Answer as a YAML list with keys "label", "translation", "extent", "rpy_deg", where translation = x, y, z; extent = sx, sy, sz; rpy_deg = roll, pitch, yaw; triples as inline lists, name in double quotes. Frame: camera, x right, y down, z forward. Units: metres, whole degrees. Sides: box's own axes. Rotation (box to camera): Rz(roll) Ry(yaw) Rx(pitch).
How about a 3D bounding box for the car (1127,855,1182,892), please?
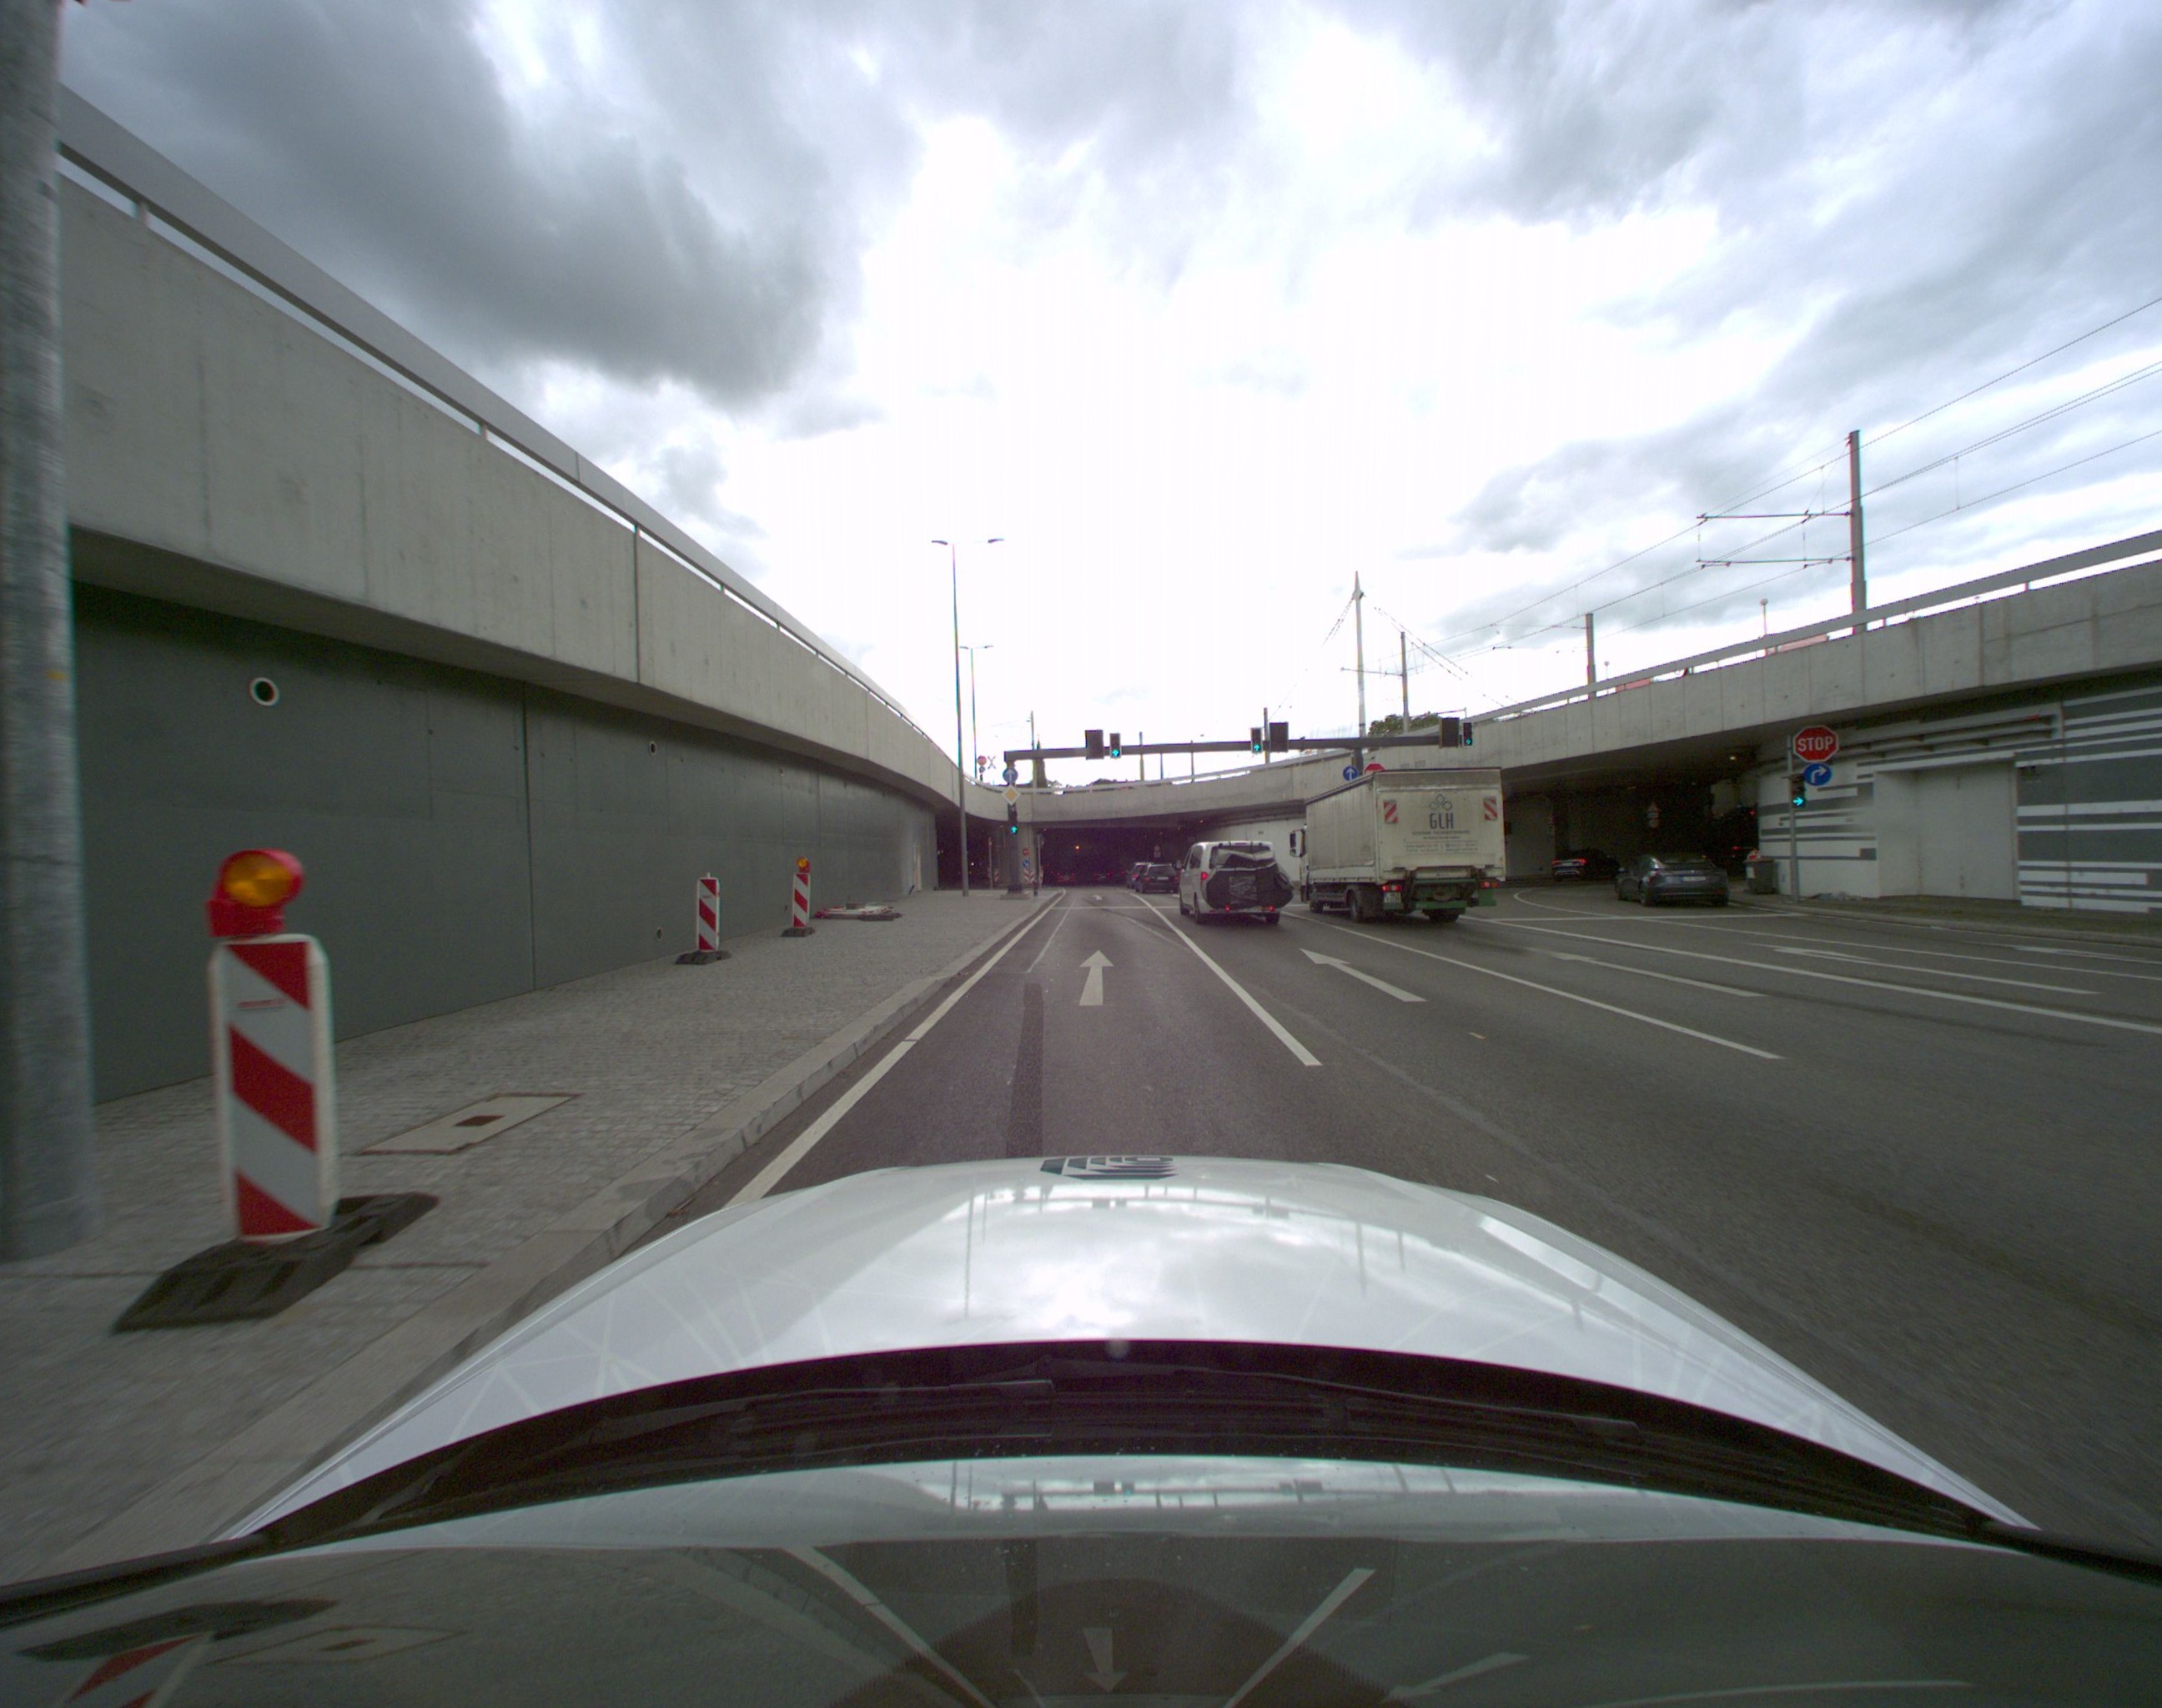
- label: "car"
  translation: [3.442, 0.900, 38.928]
  extent: [1.817, 1.684, 3.990]
  rpy_deg: [0, -1, -7]

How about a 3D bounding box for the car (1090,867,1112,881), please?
- label: "car"
  translation: [1.902, 1.929, 76.946]
  extent: [1.661, 1.247, 3.560]
  rpy_deg: [-1, -1, -5]

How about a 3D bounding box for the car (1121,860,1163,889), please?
- label: "car"
  translation: [3.582, 1.217, 48.831]
  extent: [1.816, 1.580, 3.992]
  rpy_deg: [2, 0, -6]

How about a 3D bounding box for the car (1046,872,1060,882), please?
- label: "car"
  translation: [-3.488, 2.813, 100.089]
  extent: [1.506, 1.247, 3.560]
  rpy_deg: [-1, -1, -5]

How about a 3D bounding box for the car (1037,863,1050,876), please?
- label: "car"
  translation: [-6.294, 2.656, 137.299]
  extent: [1.990, 2.013, 3.993]
  rpy_deg: [-1, 0, -5]

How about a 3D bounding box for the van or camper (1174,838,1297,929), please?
- label: "van or camper"
  translation: [3.449, 0.598, 19.232]
  extent: [1.986, 1.845, 5.509]
  rpy_deg: [0, 0, 1]

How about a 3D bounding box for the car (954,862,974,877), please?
- label: "car"
  translation: [-12.281, 1.590, 85.322]
  extent: [1.666, 1.441, 4.095]
  rpy_deg: [-1, 0, -13]

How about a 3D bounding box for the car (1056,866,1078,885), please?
- label: "car"
  translation: [-1.219, 1.835, 69.434]
  extent: [1.657, 1.488, 3.560]
  rpy_deg: [-1, -1, -5]

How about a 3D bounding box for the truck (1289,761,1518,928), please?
- label: "truck"
  translation: [7.227, -0.169, 19.580]
  extent: [2.640, 3.185, 7.427]
  rpy_deg: [-2, 0, 1]

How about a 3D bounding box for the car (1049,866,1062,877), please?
- label: "car"
  translation: [-4.620, 3.180, 148.313]
  extent: [1.992, 1.773, 3.990]
  rpy_deg: [-1, 0, -7]

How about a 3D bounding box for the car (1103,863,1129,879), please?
- label: "car"
  translation: [3.840, 1.901, 90.215]
  extent: [1.989, 1.676, 4.495]
  rpy_deg: [-1, -1, -8]

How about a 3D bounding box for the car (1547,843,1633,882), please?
- label: "car"
  translation: [25.265, 0.393, 40.438]
  extent: [4.011, 1.588, 1.816]
  rpy_deg: [-5, 1, -28]

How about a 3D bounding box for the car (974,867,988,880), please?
- label: "car"
  translation: [-13.878, 2.621, 112.776]
  extent: [1.806, 1.604, 4.778]
  rpy_deg: [-2, 1, -6]

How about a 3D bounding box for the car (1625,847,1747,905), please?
- label: "car"
  translation: [16.374, 0.546, 22.285]
  extent: [1.975, 1.401, 4.494]
  rpy_deg: [-2, 0, 28]

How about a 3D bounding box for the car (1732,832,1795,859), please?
- label: "car"
  translation: [41.576, -0.545, 49.616]
  extent: [3.678, 1.333, 1.674]
  rpy_deg: [-5, 3, -28]
